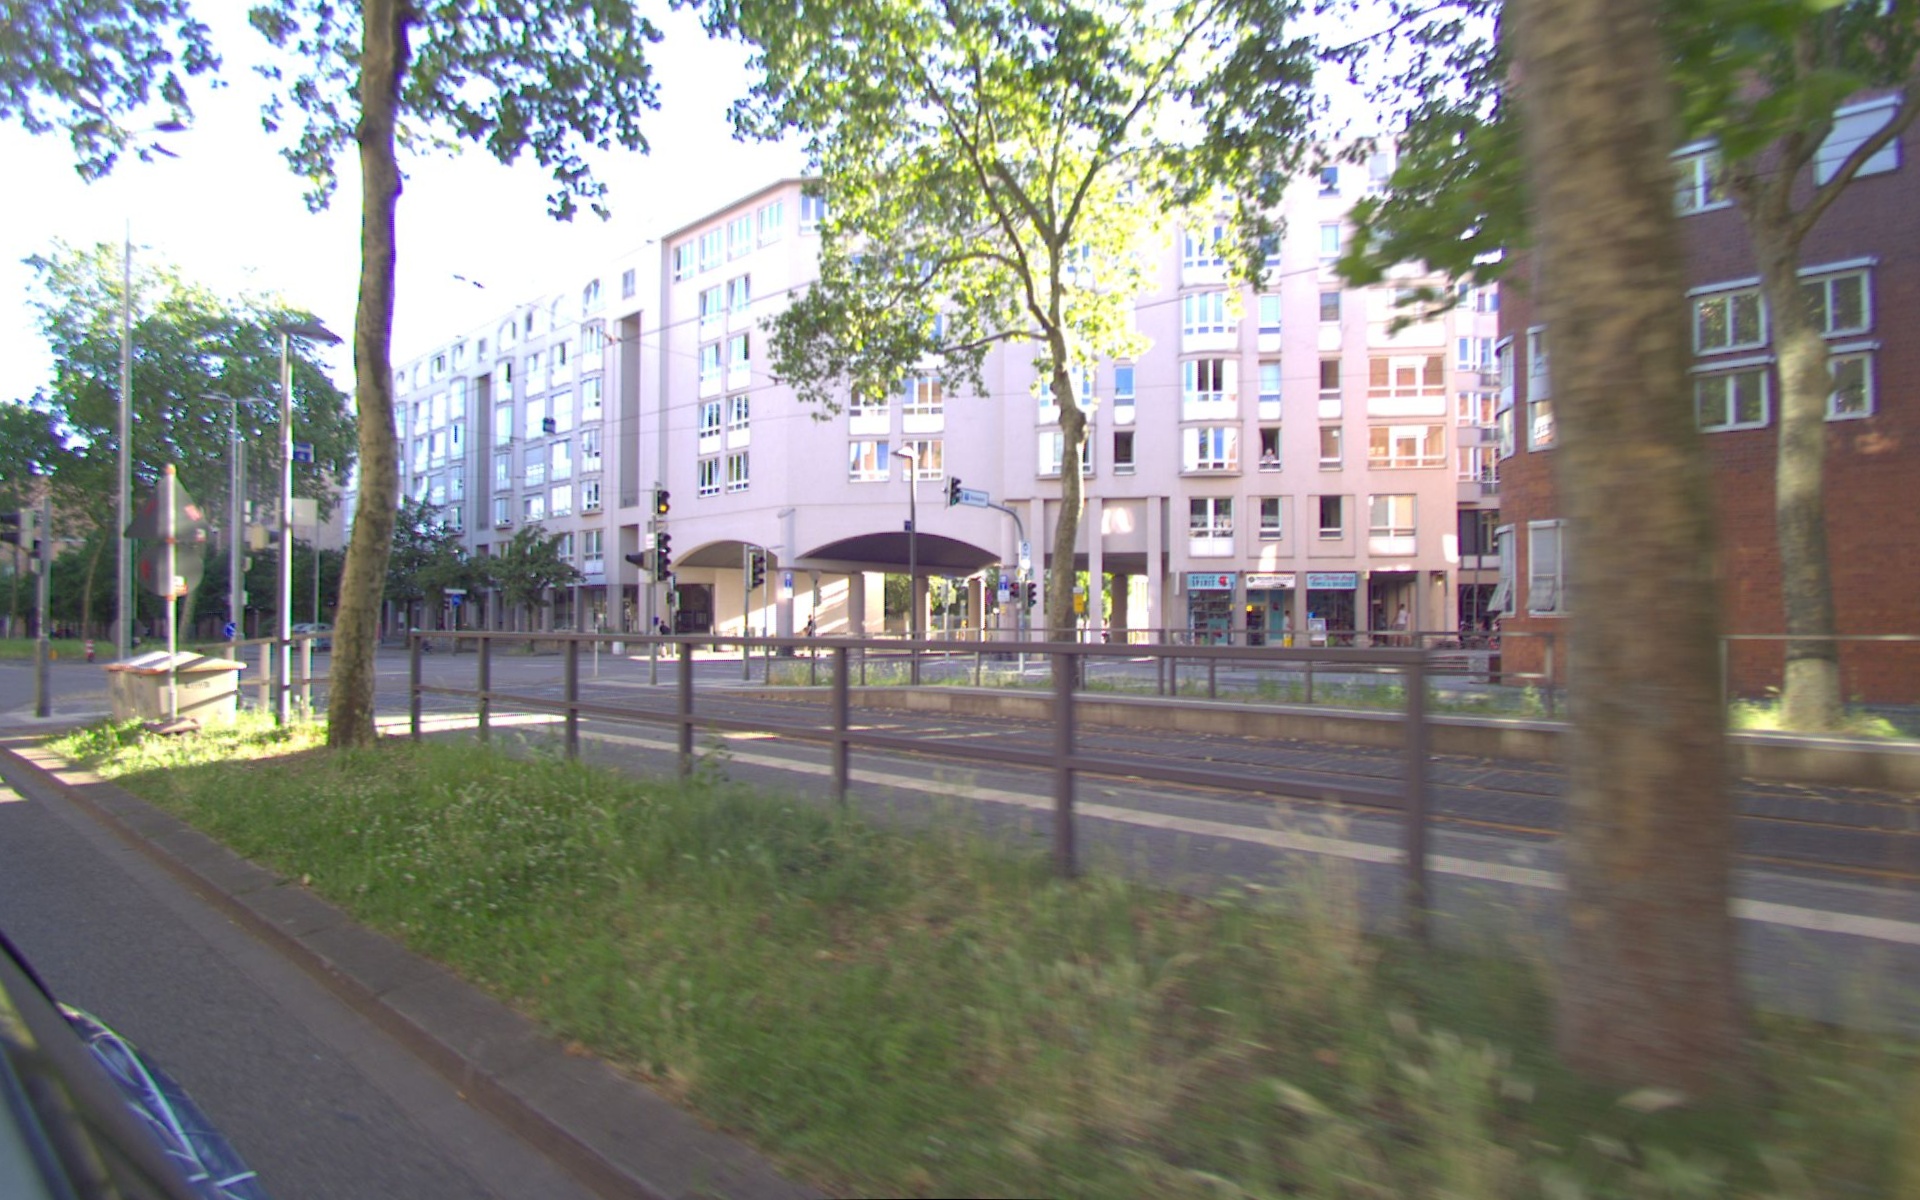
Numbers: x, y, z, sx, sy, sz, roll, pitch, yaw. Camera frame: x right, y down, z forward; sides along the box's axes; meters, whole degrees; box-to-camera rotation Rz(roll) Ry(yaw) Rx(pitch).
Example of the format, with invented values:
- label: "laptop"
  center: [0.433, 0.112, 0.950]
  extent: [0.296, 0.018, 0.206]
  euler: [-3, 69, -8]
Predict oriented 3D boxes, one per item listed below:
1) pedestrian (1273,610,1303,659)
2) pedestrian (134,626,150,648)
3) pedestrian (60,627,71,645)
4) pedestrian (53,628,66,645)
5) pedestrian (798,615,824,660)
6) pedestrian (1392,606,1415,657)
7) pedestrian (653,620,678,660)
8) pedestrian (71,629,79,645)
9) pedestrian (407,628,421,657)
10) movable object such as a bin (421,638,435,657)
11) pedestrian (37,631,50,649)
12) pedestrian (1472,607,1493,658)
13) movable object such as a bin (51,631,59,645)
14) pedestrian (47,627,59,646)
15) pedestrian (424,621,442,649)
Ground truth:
- label: "pedestrian"
  center: [13.250, 1.402, 40.898]
  extent: [0.746, 1.957, 0.826]
  euler: [1, -2, -34]
- label: "pedestrian"
  center: [-68.382, 3.068, 84.608]
  extent: [0.898, 1.845, 0.817]
  euler: [-2, -2, 32]
- label: "pedestrian"
  center: [-83.073, 3.337, 94.024]
  extent: [0.594, 1.692, 0.606]
  euler: [-2, -2, 30]
- label: "pedestrian"
  center: [-83.309, 3.378, 93.621]
  extent: [0.754, 1.629, 0.659]
  euler: [-2, -2, 31]
- label: "pedestrian"
  center: [-6.885, 1.721, 46.725]
  extent: [0.887, 2.029, 0.825]
  euler: [-2, -2, 43]
- label: "pedestrian"
  center: [18.135, 1.284, 41.361]
  extent: [0.662, 2.029, 0.610]
  euler: [-2, -2, 42]
- label: "pedestrian"
  center: [-13.844, 1.874, 47.551]
  extent: [0.748, 1.884, 0.850]
  euler: [-1, -2, 26]
- label: "pedestrian"
  center: [-82.272, 3.437, 94.070]
  extent: [0.476, 1.517, 0.465]
  euler: [1, -2, -33]
- label: "pedestrian"
  center: [-28.252, 2.186, 52.352]
  extent: [0.526, 1.515, 0.621]
  euler: [1, -2, -43]
- label: "movable object such as a bin"
  center: [-27.399, 2.460, 52.131]
  extent: [0.540, 0.960, 0.504]
  euler: [-2, -2, 45]
- label: "pedestrian"
  center: [-84.981, 3.716, 93.853]
  extent: [0.754, 1.629, 0.659]
  euler: [-2, -2, 31]
- label: "pedestrian"
  center: [20.358, 1.259, 39.425]
  extent: [0.658, 1.951, 0.613]
  euler: [-1, -2, 25]
- label: "movable object such as a bin"
  center: [-82.895, 3.515, 92.669]
  extent: [0.754, 1.289, 0.353]
  euler: [-2, -2, 31]
- label: "pedestrian"
  center: [-83.440, 3.327, 93.100]
  extent: [0.794, 1.735, 0.659]
  euler: [-2, -2, 31]
- label: "pedestrian"
  center: [-31.513, 2.091, 60.533]
  extent: [0.788, 1.651, 0.699]
  euler: [-2, -2, 43]
